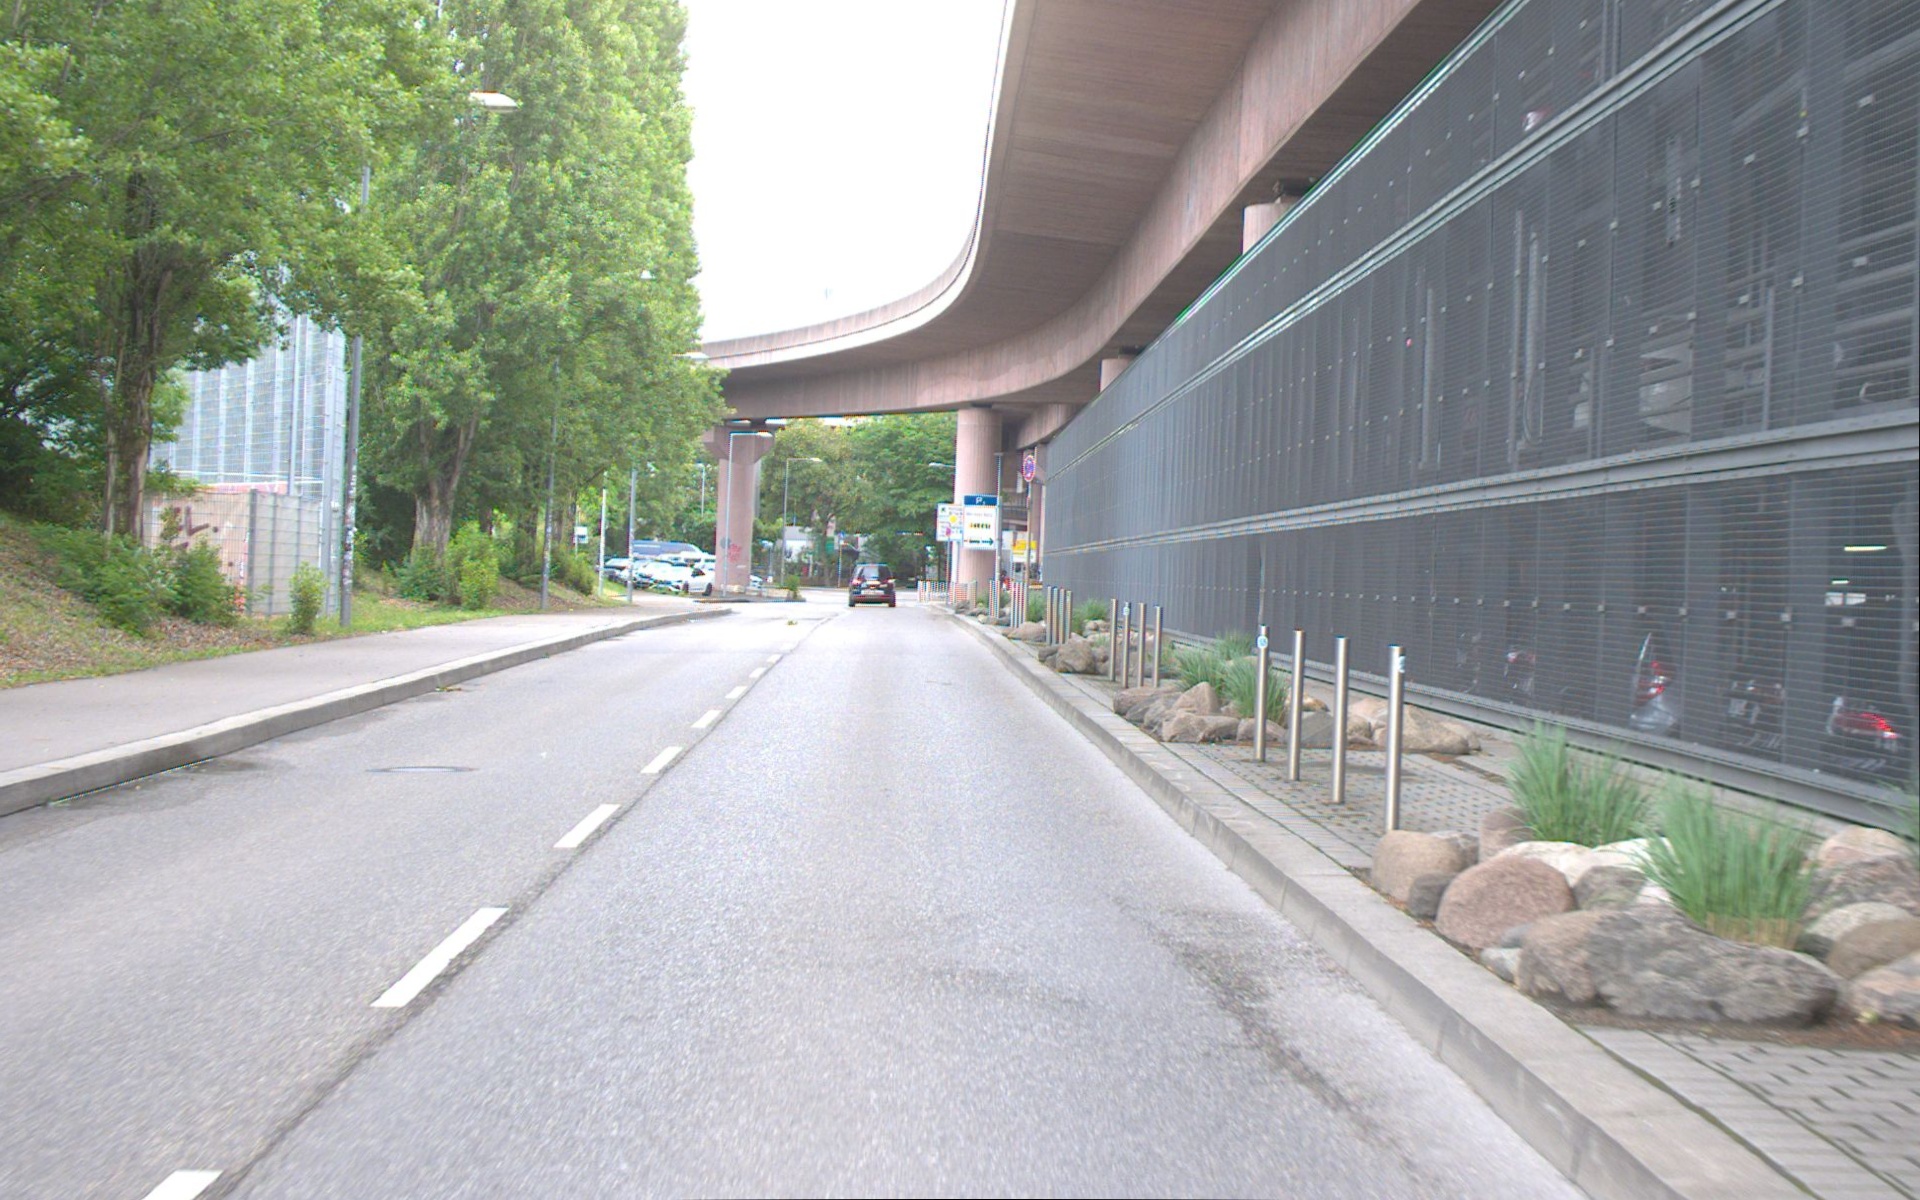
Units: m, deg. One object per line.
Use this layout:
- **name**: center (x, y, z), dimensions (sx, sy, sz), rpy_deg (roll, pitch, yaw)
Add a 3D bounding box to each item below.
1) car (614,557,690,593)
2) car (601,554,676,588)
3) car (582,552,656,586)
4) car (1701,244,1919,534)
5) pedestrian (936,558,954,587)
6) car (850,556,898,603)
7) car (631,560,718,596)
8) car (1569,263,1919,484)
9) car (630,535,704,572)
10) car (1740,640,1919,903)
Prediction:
- **car**: center (-15.760, -1.280, 175.794), dimensions (1.724, 1.711, 3.664), rpy_deg (4, 3, 40)
- **car**: center (-16.769, -1.505, 179.334), dimensions (1.724, 1.711, 3.664), rpy_deg (4, 3, 40)
- **car**: center (-18.104, -1.653, 182.582), dimensions (1.806, 1.711, 3.664), rpy_deg (4, 3, 40)
- **car**: center (7.250, -1.360, 23.346), dimensions (3.987, 1.860, 1.731), rpy_deg (2, 2, 0)
- **pedestrian**: center (-0.981, -1.782, 221.551), dimensions (0.769, 1.870, 0.824), rpy_deg (1, 2, -32)
- **car**: center (-3.454, -0.844, 137.942), dimensions (1.839, 1.705, 3.706), rpy_deg (2, 2, -1)
- **car**: center (-14.244, -1.090, 171.796), dimensions (1.884, 1.711, 4.143), rpy_deg (4, 3, 40)
- **car**: center (7.175, -1.813, 28.222), dimensions (3.987, 1.651, 1.832), rpy_deg (2, 2, 1)
- **car**: center (-17.344, -2.775, 203.873), dimensions (4.213, 2.007, 2.000), rpy_deg (2, 1, -2)
- **car**: center (7.046, 1.100, 21.180), dimensions (3.987, 1.461, 1.811), rpy_deg (3, 1, -1)
